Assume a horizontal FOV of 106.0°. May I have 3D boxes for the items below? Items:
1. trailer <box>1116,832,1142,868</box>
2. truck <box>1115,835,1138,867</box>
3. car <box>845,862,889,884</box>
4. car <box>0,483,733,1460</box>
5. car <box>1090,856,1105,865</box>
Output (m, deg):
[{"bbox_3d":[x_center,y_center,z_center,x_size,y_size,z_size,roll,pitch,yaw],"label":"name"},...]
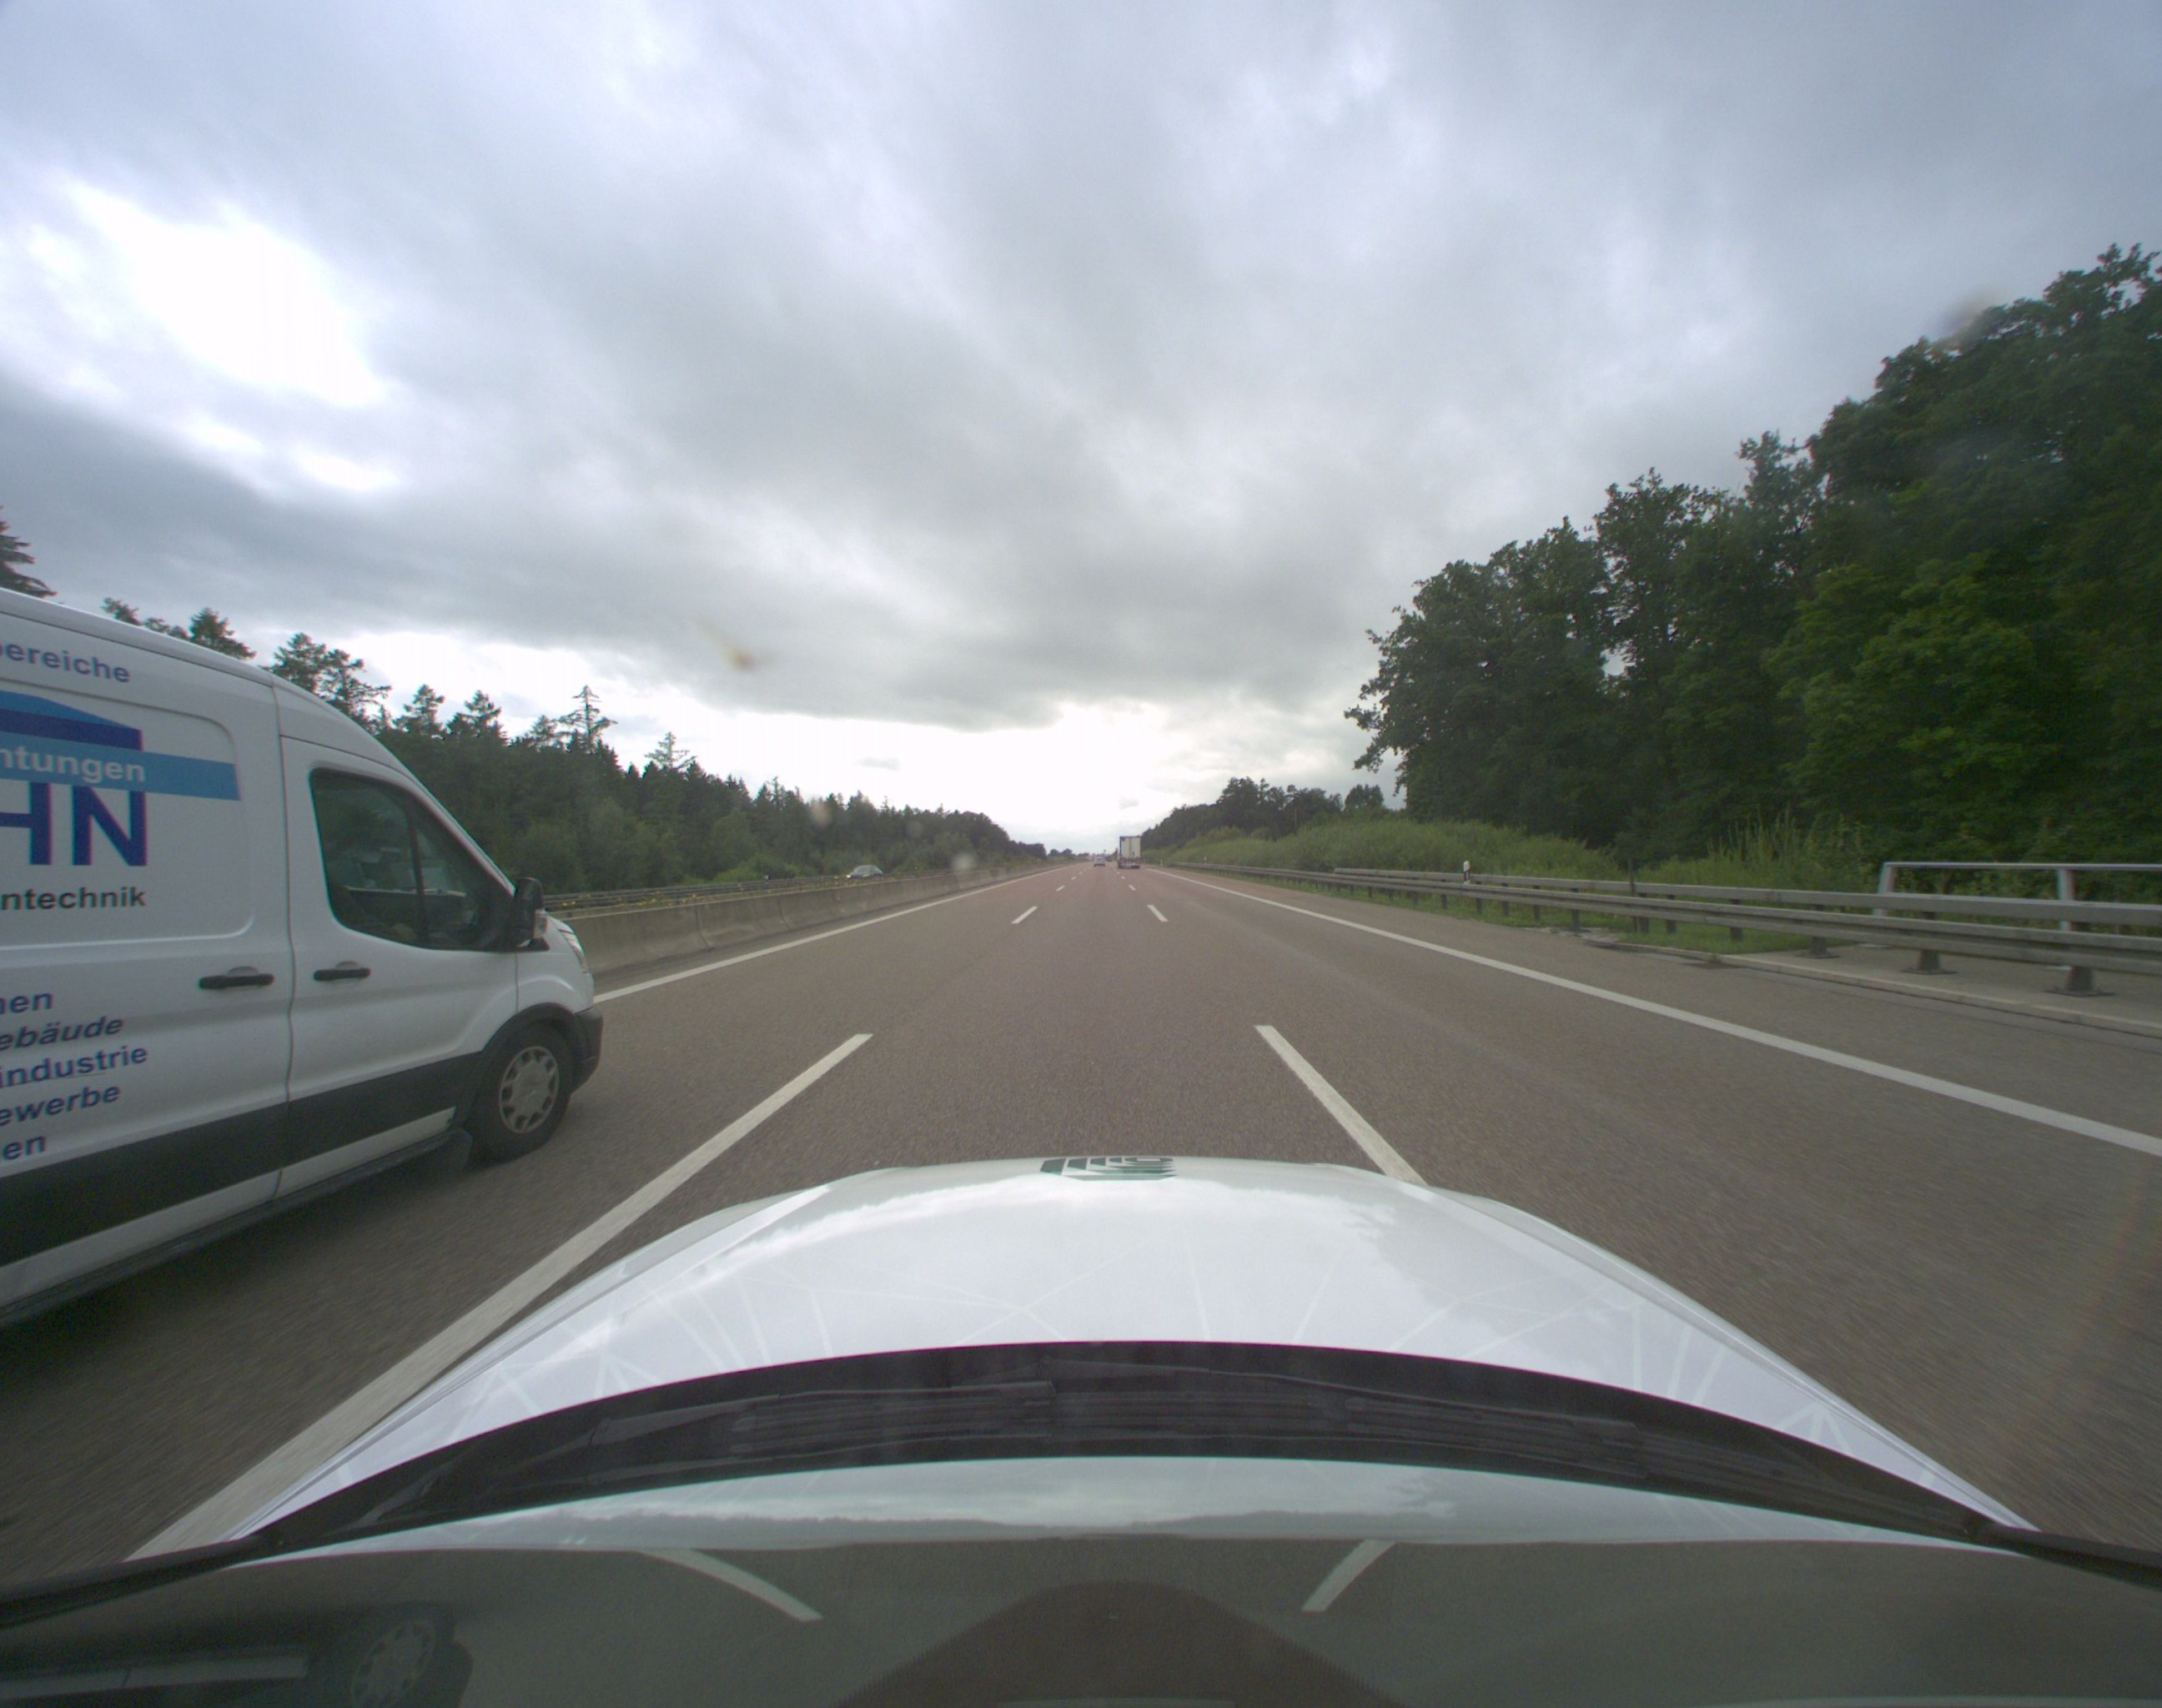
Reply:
[{"bbox_3d":[6.020,-0.455,104.433,2.910,4.294,13.617,-1,-1,2],"label":"trailer"},{"bbox_3d":[6.251,-0.397,112.201,2.911,4.294,5.336,-1,-1,1],"label":"truck"},{"bbox_3d":[-17.331,1.510,66.211,2.116,1.591,5.199,-2,0,1],"label":"car"},{"bbox_3d":[-3.829,0.315,2.635,2.130,2.507,7.133,-1,0,1],"label":"car"},{"bbox_3d":[2.736,1.109,133.243,2.154,1.451,4.722,0,0,3],"label":"car"}]
